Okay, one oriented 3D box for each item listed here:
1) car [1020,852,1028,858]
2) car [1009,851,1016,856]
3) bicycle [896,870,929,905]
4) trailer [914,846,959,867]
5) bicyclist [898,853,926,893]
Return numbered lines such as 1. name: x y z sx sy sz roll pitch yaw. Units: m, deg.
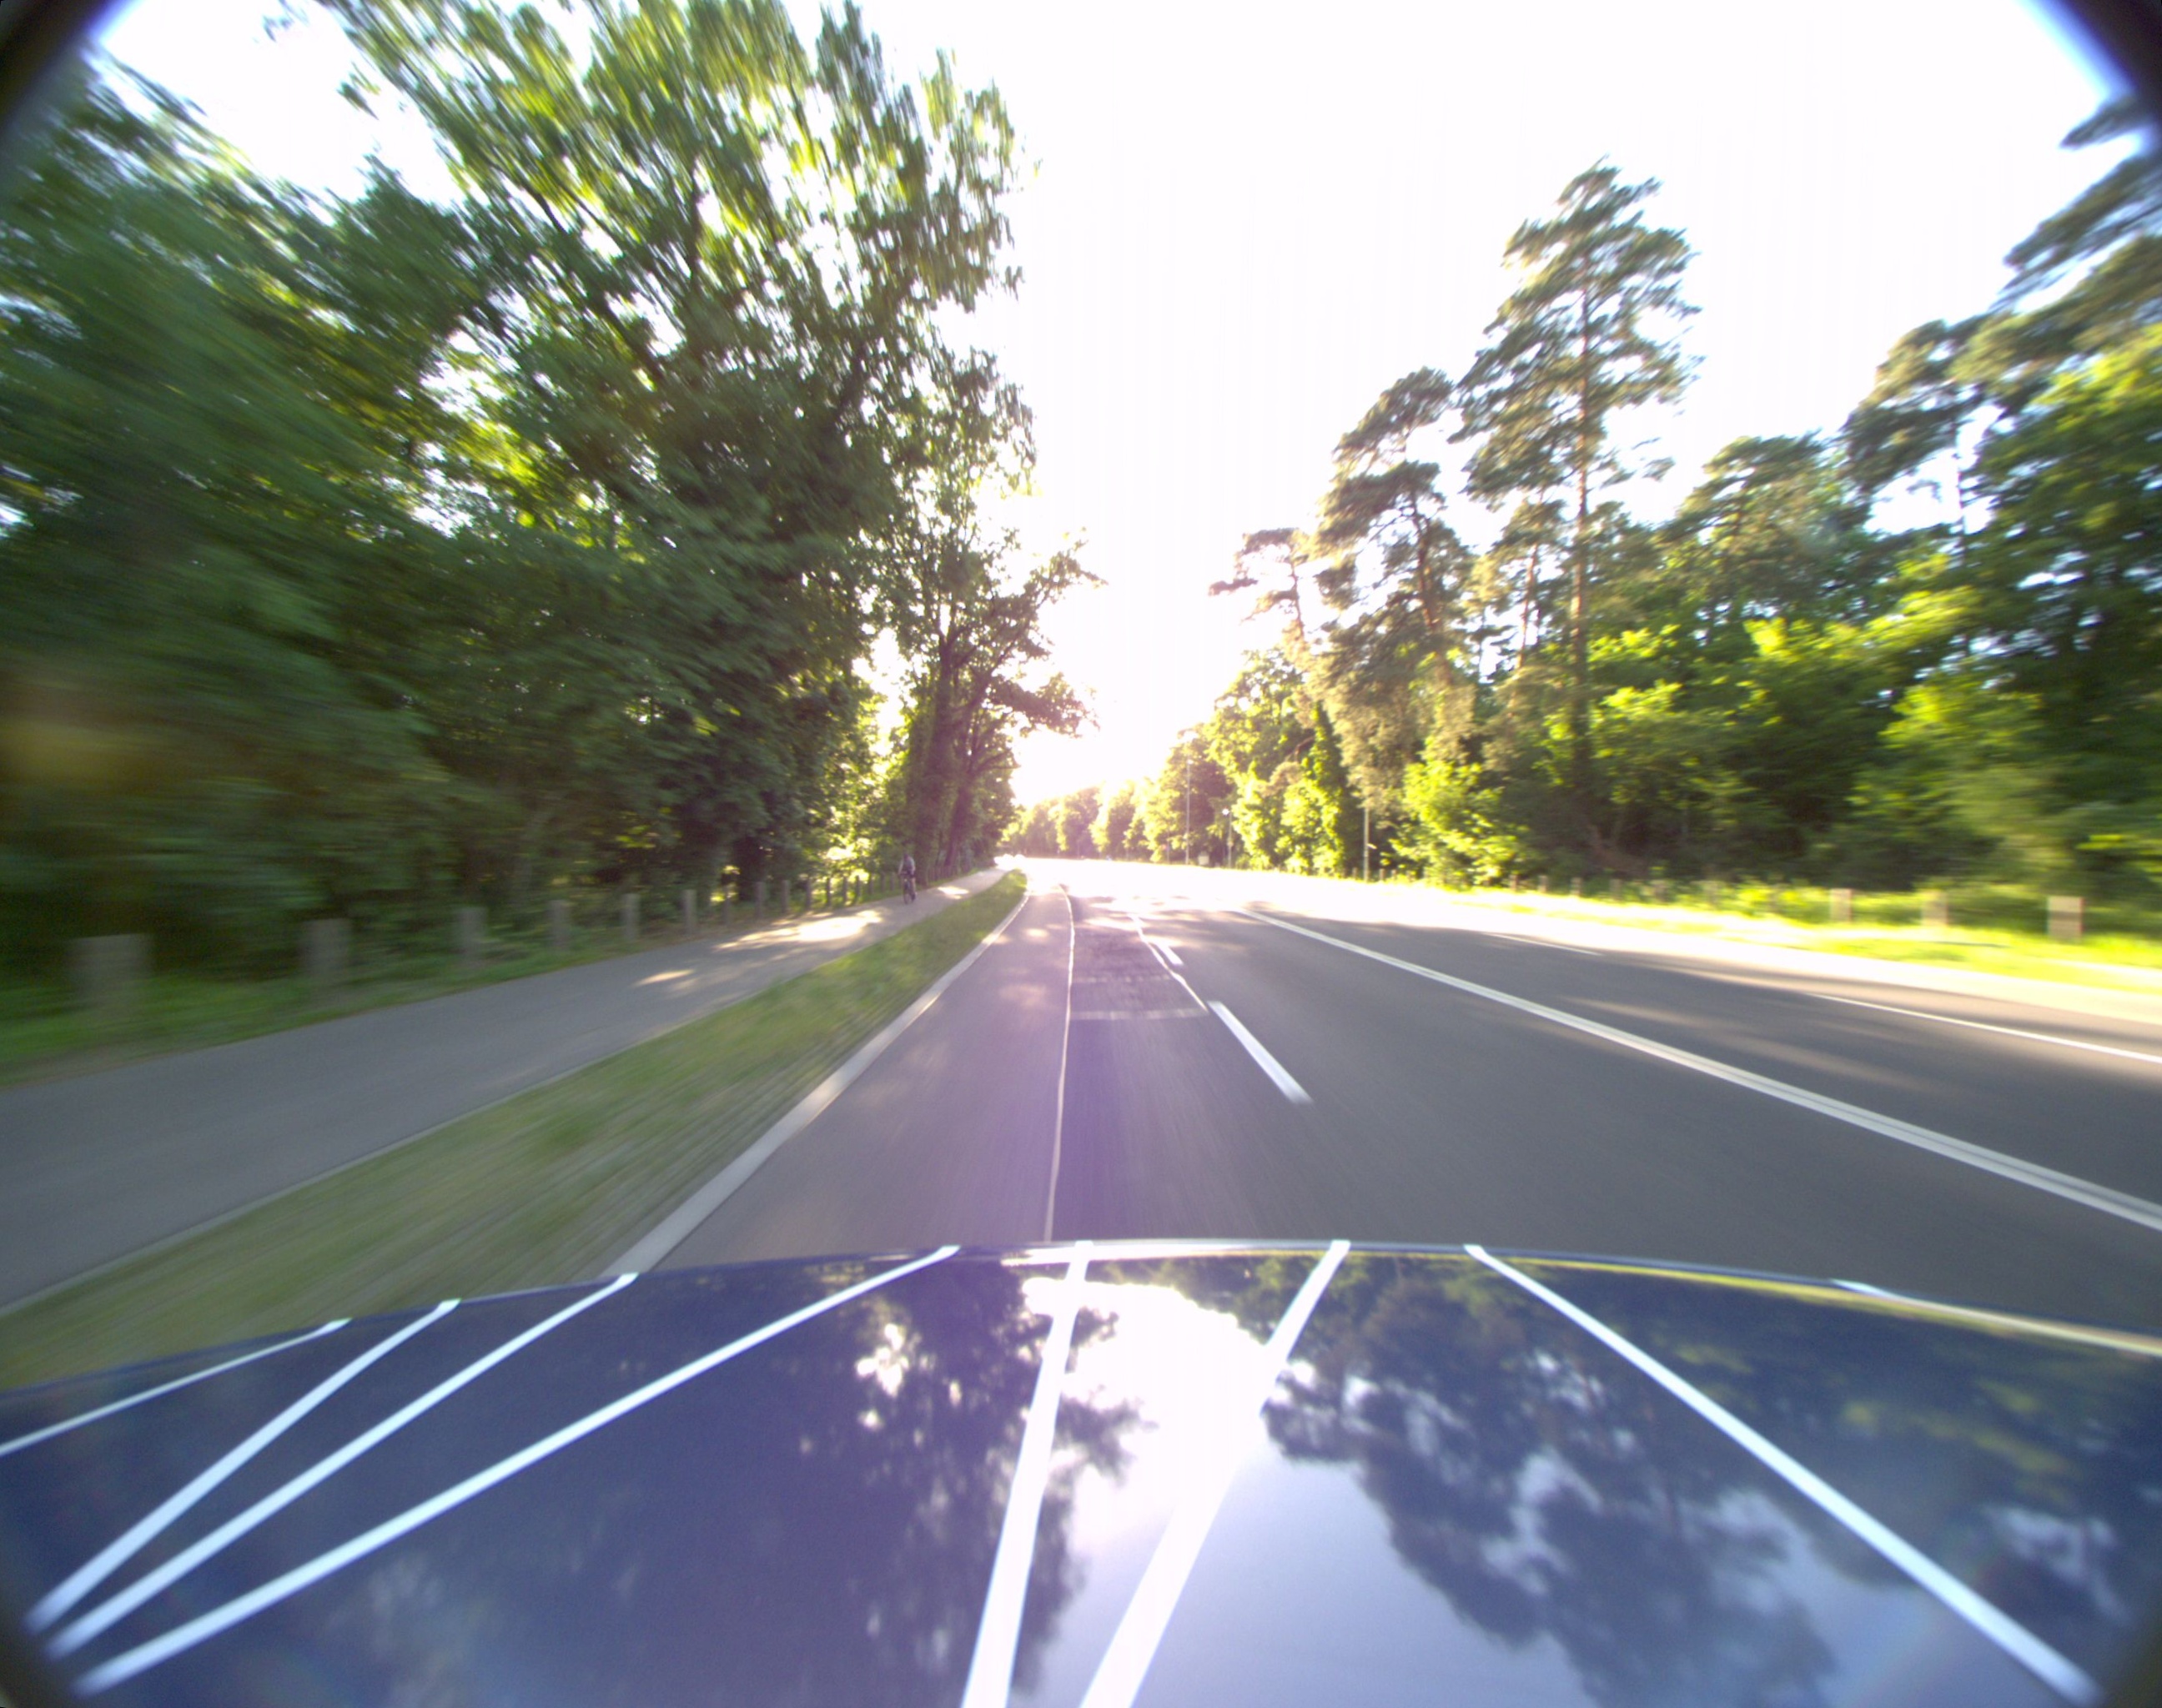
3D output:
1. car: -16.147 0.170 213.895 1.828 1.674 3.996 0 0 -10
2. car: -22.170 -0.171 245.281 1.828 1.674 3.996 0 0 -10
3. bicycle: -5.549 1.073 25.106 0.714 1.049 2.052 -1 0 -4
4. trailer: -14.194 0.214 74.706 4.215 2.010 2.004 0 1 37
5. bicyclist: -5.559 0.606 25.101 0.714 1.281 1.104 -1 1 -4
